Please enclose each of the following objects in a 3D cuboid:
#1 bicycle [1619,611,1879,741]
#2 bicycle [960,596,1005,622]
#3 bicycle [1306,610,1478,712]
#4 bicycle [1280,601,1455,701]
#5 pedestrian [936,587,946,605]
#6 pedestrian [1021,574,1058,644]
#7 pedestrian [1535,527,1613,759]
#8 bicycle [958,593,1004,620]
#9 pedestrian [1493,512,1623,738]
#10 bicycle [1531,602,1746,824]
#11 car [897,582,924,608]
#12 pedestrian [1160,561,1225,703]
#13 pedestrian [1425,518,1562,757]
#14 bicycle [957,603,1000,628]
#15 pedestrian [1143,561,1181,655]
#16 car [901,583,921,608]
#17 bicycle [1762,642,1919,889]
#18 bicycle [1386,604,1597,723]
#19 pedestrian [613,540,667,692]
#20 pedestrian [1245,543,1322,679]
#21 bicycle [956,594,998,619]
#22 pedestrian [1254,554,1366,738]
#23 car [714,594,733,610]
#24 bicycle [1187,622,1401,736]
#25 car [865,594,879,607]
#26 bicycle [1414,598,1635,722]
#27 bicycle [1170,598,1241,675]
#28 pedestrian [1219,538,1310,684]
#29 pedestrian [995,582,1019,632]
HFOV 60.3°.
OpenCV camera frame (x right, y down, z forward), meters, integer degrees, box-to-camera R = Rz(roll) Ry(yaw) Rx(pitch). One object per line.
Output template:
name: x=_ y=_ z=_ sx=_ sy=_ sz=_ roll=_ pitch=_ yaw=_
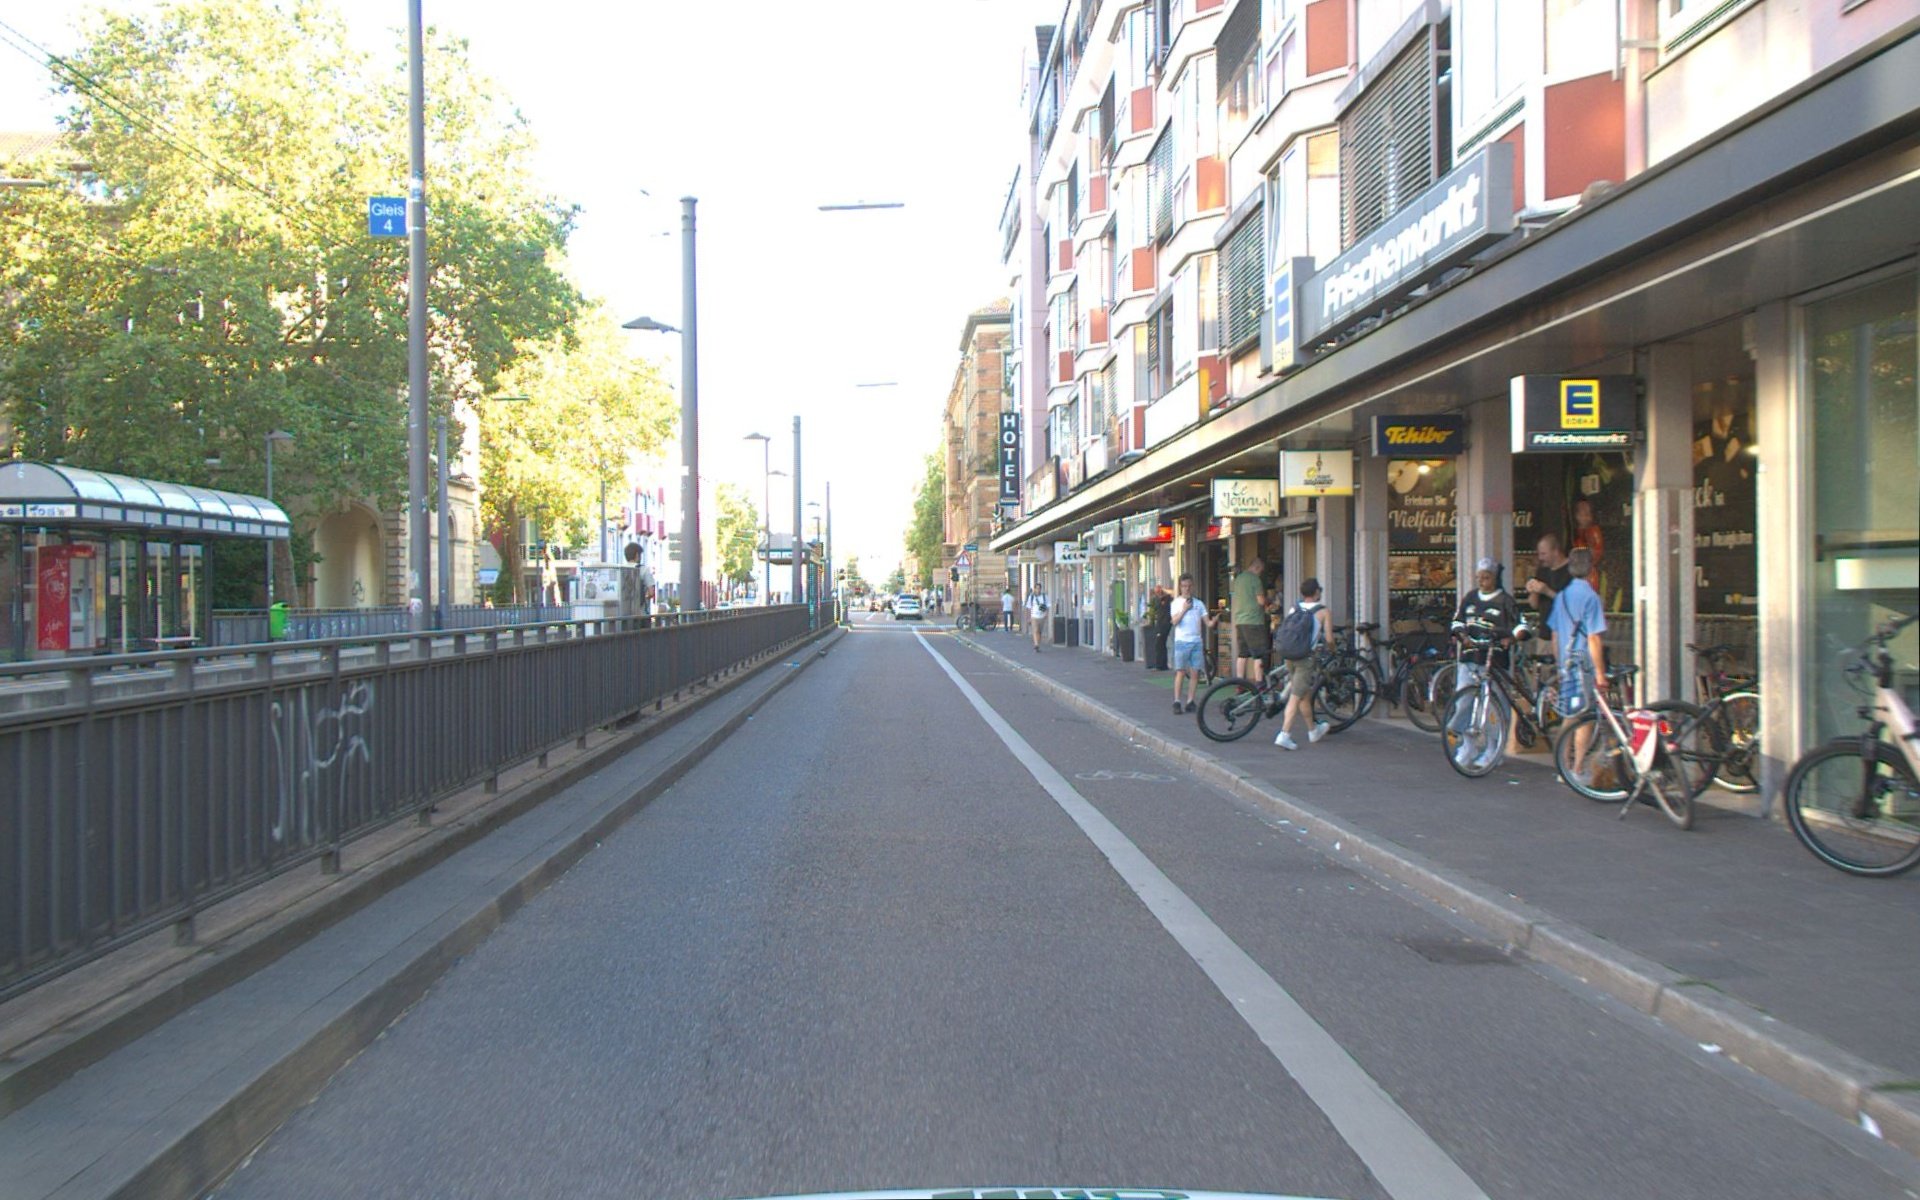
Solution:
bicycle: x=6.488 y=0.613 z=13.628 sx=1.887 sy=0.954 sz=0.576 roll=-2 pitch=0 yaw=-6
bicycle: x=0.950 y=0.387 z=70.866 sx=1.876 sy=1.066 sz=0.680 roll=0 pitch=0 yaw=-6
bicycle: x=4.692 y=0.658 z=18.031 sx=1.695 sy=0.990 sz=0.506 roll=-4 pitch=0 yaw=2
bicycle: x=4.797 y=0.592 z=19.500 sx=1.886 sy=1.078 sz=0.576 roll=-2 pitch=0 yaw=-3
pedestrian: x=-1.638 y=-0.349 z=144.678 sx=0.760 sy=1.594 sz=0.913 roll=-4 pitch=0 yaw=-1
pedestrian: x=2.059 y=0.238 z=42.941 sx=0.782 sy=1.752 sz=1.061 roll=-3 pitch=0 yaw=-1
pedestrian: x=4.428 y=0.303 z=11.915 sx=0.398 sy=1.622 sz=0.461 roll=-4 pitch=0 yaw=25
bicycle: x=0.901 y=0.279 z=71.522 sx=1.932 sy=1.124 sz=0.613 roll=-1 pitch=0 yaw=-6
pedestrian: x=5.104 y=0.201 z=14.118 sx=0.726 sy=1.848 sz=0.795 roll=0 pitch=0 yaw=-40
bicycle: x=4.133 y=0.648 z=10.212 sx=0.782 sy=1.196 sz=1.634 roll=-4 pitch=0 yaw=9
car: x=-3.613 y=-0.359 z=121.239 sx=1.927 sy=1.802 sz=4.873 roll=1 pitch=0 yaw=-2
pedestrian: x=2.863 y=0.384 z=20.387 sx=0.619 sy=1.702 sz=0.770 roll=-2 pitch=0 yaw=-3
pedestrian: x=4.297 y=0.288 z=13.333 sx=0.726 sy=1.848 sz=0.795 roll=0 pitch=0 yaw=-40
bicycle: x=0.796 y=0.666 z=72.243 sx=1.798 sy=1.072 sz=0.717 roll=0 pitch=0 yaw=-6
pedestrian: x=3.737 y=0.148 z=30.546 sx=0.531 sy=1.702 sz=0.467 roll=-2 pitch=0 yaw=-12
car: x=-4.249 y=-0.401 z=143.871 sx=1.670 sy=2.157 sz=3.706 roll=0 pitch=-1 yaw=0
bicycle: x=4.465 y=0.734 z=7.377 sx=0.663 sy=0.993 sz=1.841 roll=-5 pitch=0 yaw=-6
bicycle: x=5.257 y=0.617 z=16.391 sx=1.887 sy=1.078 sz=0.576 roll=-2 pitch=0 yaw=-6
pedestrian: x=-3.894 y=0.190 z=20.133 sx=0.571 sy=1.823 sz=0.605 roll=0 pitch=0 yaw=-5
pedestrian: x=4.646 y=0.162 z=23.773 sx=0.766 sy=1.899 sz=0.682 roll=-2 pitch=0 yaw=-23
bicycle: x=0.764 y=0.293 z=73.920 sx=1.798 sy=1.072 sz=0.709 roll=0 pitch=0 yaw=-6
pedestrian: x=3.369 y=0.431 z=15.979 sx=0.762 sy=1.692 sz=0.916 roll=-2 pitch=0 yaw=-5
car: x=-25.387 y=0.199 z=177.833 sx=1.833 sy=1.628 sz=4.249 roll=0 pitch=0 yaw=-5
bicycle: x=3.338 y=0.786 z=16.641 sx=1.981 sy=0.990 sz=0.659 roll=-3 pitch=1 yaw=0
car: x=-12.446 y=0.030 z=234.699 sx=2.000 sy=1.703 sz=4.873 roll=1 pitch=1 yaw=-3
bicycle: x=5.359 y=0.556 z=15.738 sx=1.887 sy=1.078 sz=0.576 roll=-2 pitch=0 yaw=-6
bicycle: x=3.749 y=0.542 z=25.415 sx=0.644 sy=1.085 sz=1.793 roll=-5 pitch=0 yaw=-3
pedestrian: x=4.169 y=0.150 z=22.694 sx=0.897 sy=1.898 sz=0.778 roll=-5 pitch=0 yaw=-6
pedestrian: x=1.868 y=0.279 z=65.830 sx=0.796 sy=1.917 sz=0.776 roll=3 pitch=-1 yaw=-1
